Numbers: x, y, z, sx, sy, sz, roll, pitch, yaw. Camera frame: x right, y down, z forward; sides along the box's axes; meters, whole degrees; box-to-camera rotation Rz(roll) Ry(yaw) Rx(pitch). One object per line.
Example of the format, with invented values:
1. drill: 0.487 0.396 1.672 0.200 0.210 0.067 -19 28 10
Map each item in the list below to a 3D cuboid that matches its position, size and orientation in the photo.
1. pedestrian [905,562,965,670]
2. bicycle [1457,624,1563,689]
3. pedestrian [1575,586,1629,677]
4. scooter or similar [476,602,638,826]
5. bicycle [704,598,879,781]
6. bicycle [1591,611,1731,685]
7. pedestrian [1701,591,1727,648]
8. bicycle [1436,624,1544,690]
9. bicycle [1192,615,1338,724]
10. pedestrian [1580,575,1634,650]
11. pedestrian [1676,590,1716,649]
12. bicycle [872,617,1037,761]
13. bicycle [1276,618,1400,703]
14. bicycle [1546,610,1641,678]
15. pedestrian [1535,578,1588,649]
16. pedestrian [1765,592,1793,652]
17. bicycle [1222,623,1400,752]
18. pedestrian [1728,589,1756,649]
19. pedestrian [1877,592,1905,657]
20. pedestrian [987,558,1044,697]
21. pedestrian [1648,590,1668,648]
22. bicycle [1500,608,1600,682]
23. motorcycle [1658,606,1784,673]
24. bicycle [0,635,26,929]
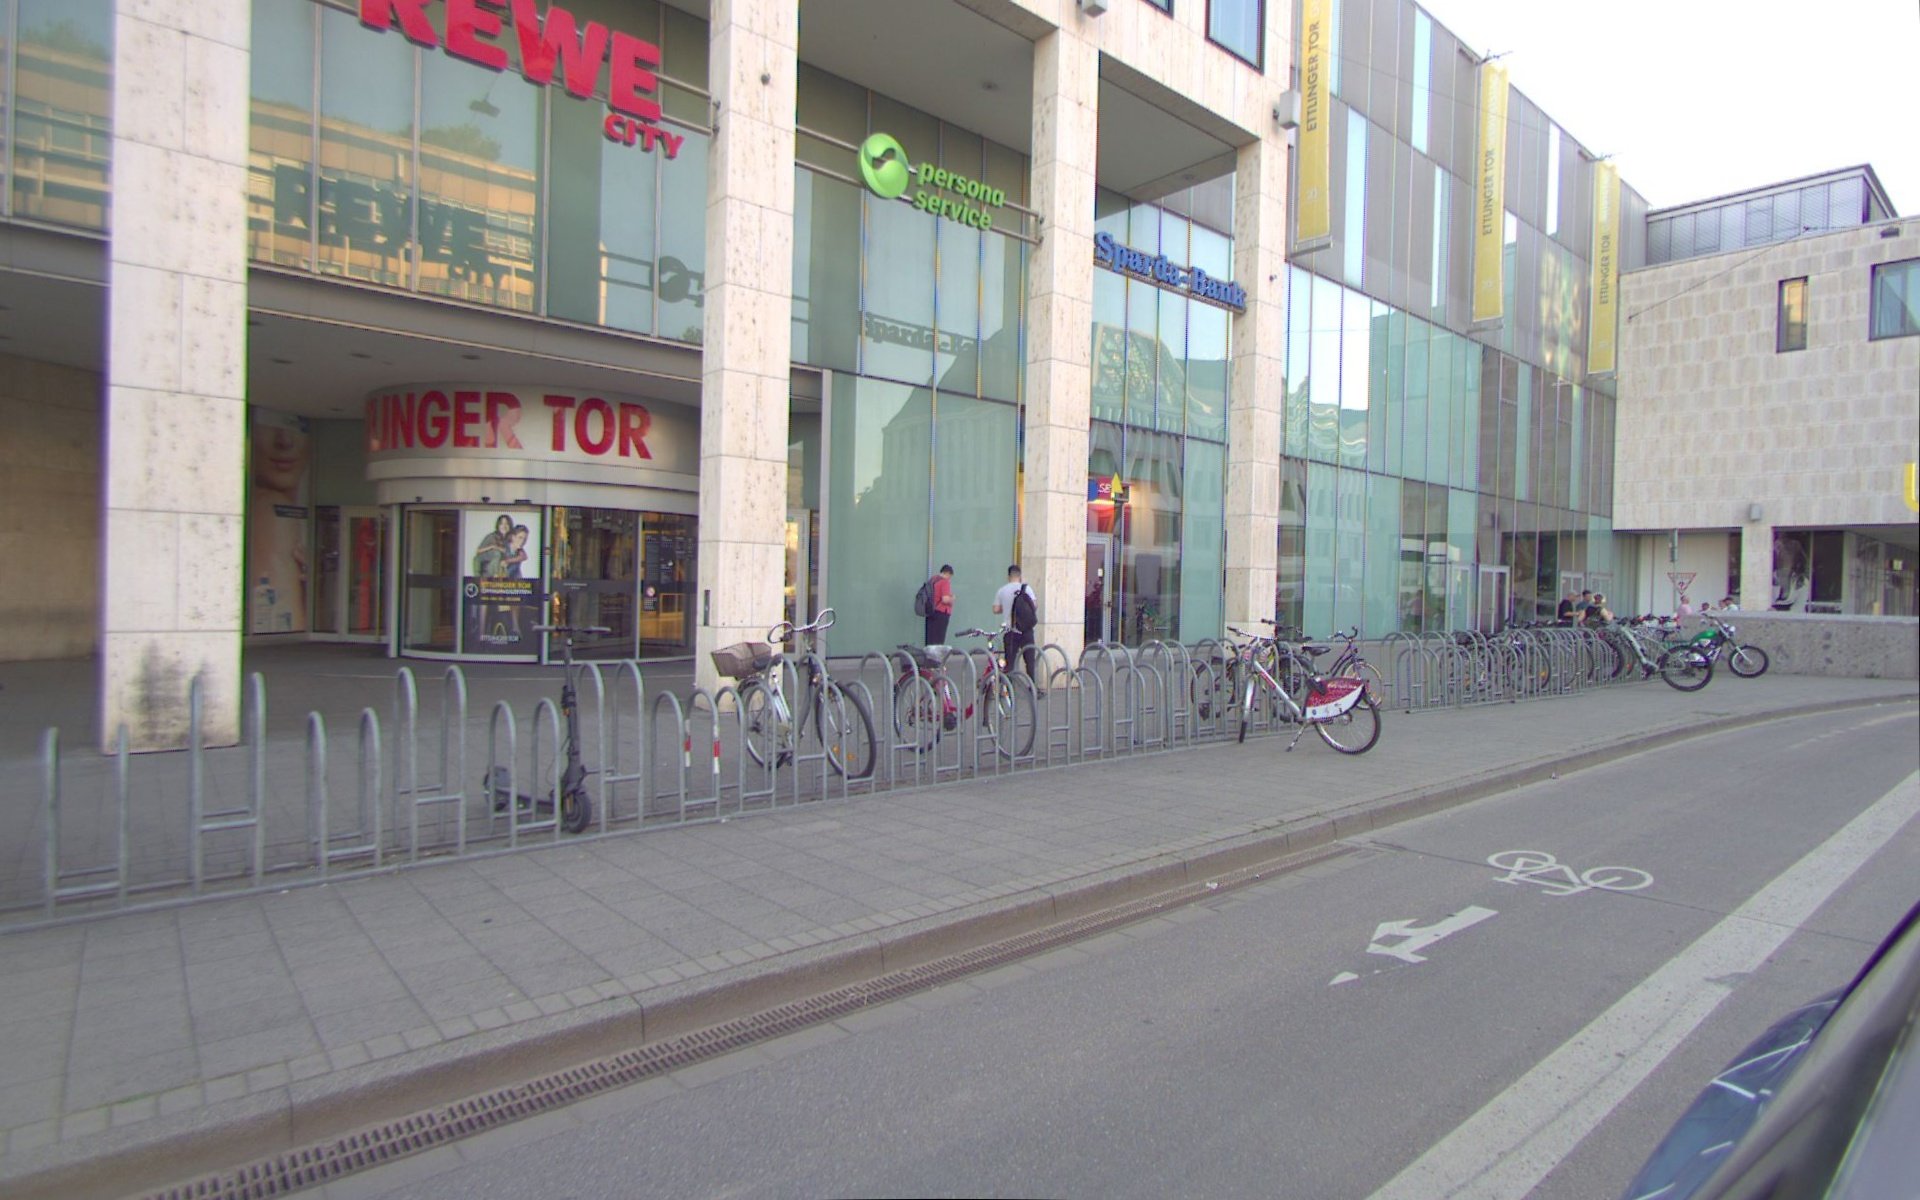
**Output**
1. pedestrian: -0.403 0.244 16.211 0.695 1.672 0.629 1 1 -40
2. bicycle: 8.454 0.849 15.586 0.509 0.944 1.344 1 -2 -41
3. pedestrian: 12.255 0.582 19.340 0.802 1.663 0.640 2 1 31
4. scooter or similar: -2.520 0.644 6.276 0.484 1.214 1.194 1 1 -44
5. bicycle: -1.308 0.618 7.667 0.607 1.243 1.517 1 -2 -41
6. bicycle: 11.564 0.769 16.745 0.458 1.161 1.837 1 -2 -39
7. pedestrian: 23.589 0.606 31.661 0.539 1.765 0.494 1 1 -38
8. bicycle: 7.943 0.837 15.207 0.509 0.944 1.344 1 -2 -41
9. bicycle: 3.377 0.735 11.311 0.569 1.138 1.519 1 -2 -36
10. pedestrian: 15.303 0.278 23.951 0.806 1.717 0.698 1 1 4
11. pedestrian: 22.403 0.579 30.795 0.644 1.765 0.794 1 1 -38
12. bicycle: -0.076 0.706 8.670 0.543 1.120 1.516 1 -2 -43
13. bicycle: 5.011 0.774 13.450 1.439 1.078 0.572 -1 -2 39
14. bicycle: 11.393 0.764 18.220 0.509 1.179 1.344 1 -2 -41
15. pedestrian: 14.492 0.318 24.413 0.805 1.668 0.740 1 1 4
16. pedestrian: 24.381 0.646 30.131 0.483 1.765 0.504 1 1 -38
17. bicycle: 3.169 0.753 9.248 0.458 1.077 1.518 1 -2 -39
18. pedestrian: 23.495 0.577 30.395 0.644 1.765 0.494 1 1 -38
19. pedestrian: 25.597 0.670 27.811 0.483 1.765 0.455 1 1 -38
20. pedestrian: 0.700 0.336 12.932 0.617 1.713 0.708 1 1 -3
21. pedestrian: 21.704 0.589 31.476 0.444 1.765 0.364 1 1 -38
22. bicycle: 9.830 0.731 16.896 0.509 1.179 1.344 1 -2 -41
23. motorcycle: 15.578 0.786 20.766 0.472 1.239 2.004 1 1 -43
24. bicycle: -4.556 0.724 4.478 1.768 1.092 0.475 3 1 43
